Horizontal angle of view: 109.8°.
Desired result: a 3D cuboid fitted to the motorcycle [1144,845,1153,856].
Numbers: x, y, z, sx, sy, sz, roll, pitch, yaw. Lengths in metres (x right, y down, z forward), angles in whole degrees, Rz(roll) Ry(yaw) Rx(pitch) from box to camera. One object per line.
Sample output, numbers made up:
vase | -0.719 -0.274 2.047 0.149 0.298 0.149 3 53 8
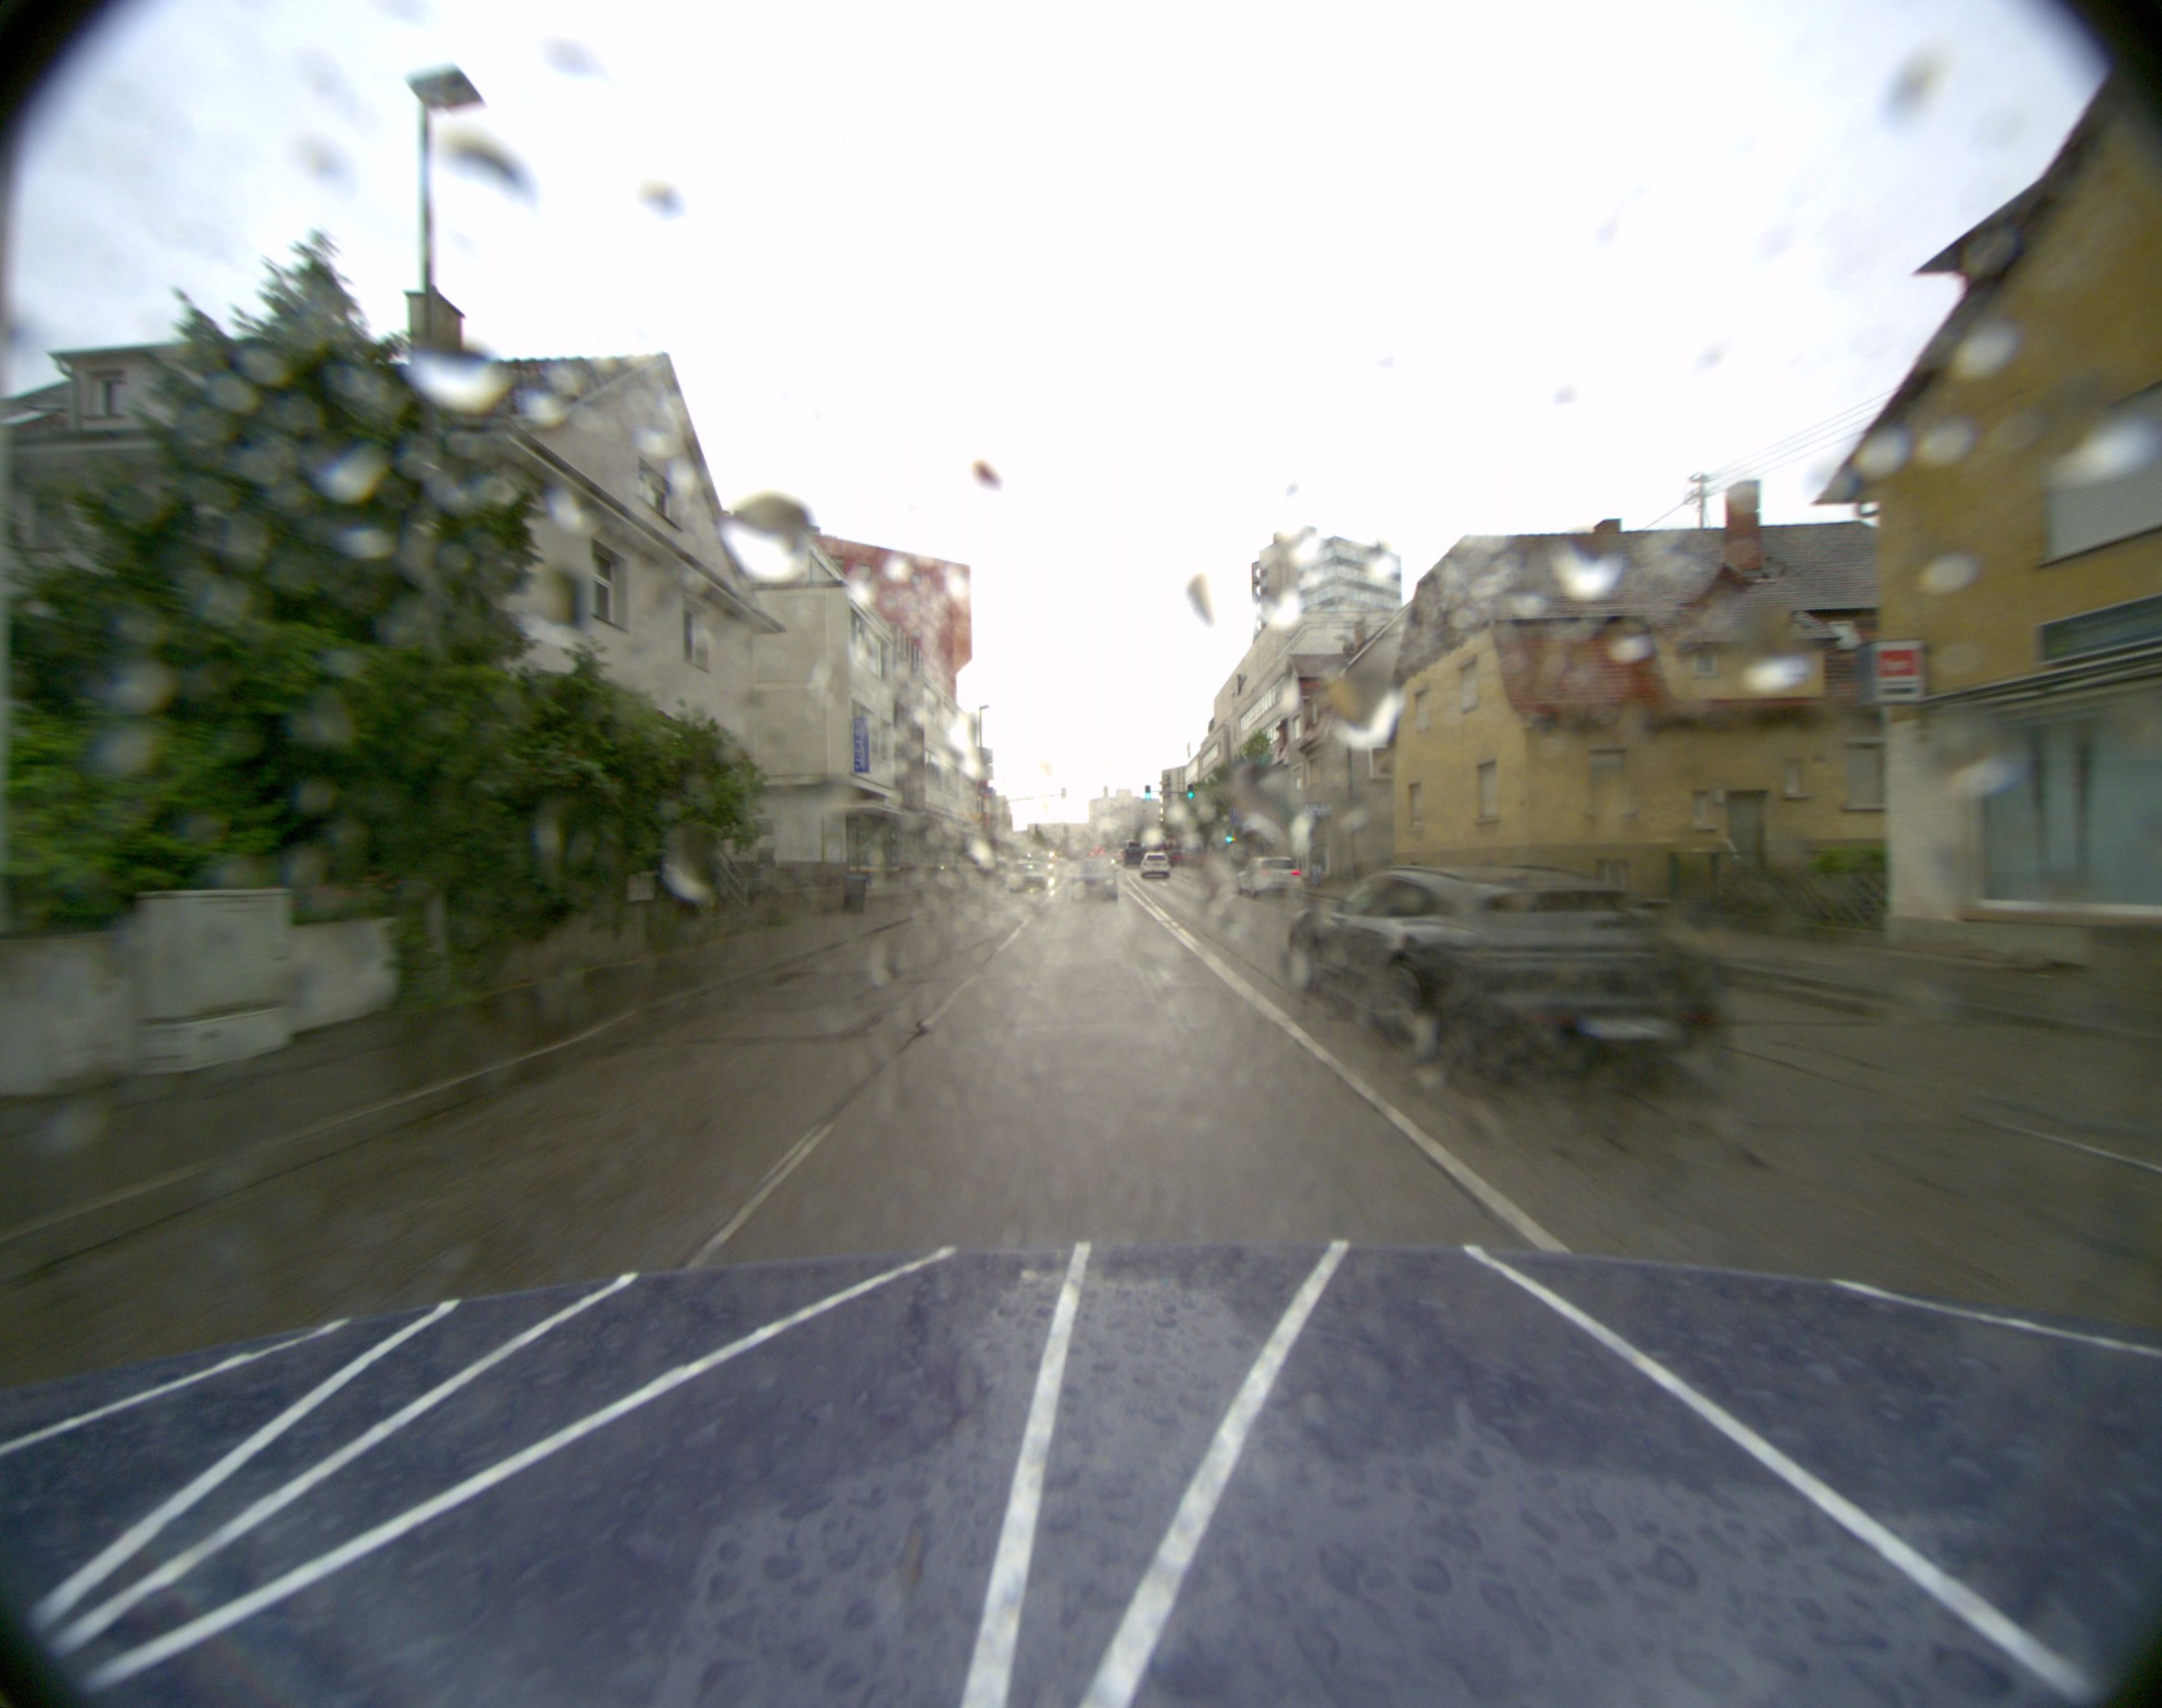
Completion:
motorcycle | 8.018 -0.479 90.553 0.909 1.276 2.185 0 1 1

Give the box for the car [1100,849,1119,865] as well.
car | 2.745 0.272 73.427 1.719 1.442 4.197 0 1 1

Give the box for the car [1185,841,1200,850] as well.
car | 17.026 -1.284 116.193 1.757 1.402 3.730 0 1 1

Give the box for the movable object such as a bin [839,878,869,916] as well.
movable object such as a bin | -6.432 1.218 21.540 0.577 1.042 0.830 1 -1 1

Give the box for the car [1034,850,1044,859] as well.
car | -6.000 0.100 109.110 1.326 1.178 2.822 0 1 1

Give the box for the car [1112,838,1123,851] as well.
car | 6.036 -1.593 126.094 1.637 2.002 4.284 0 1 2

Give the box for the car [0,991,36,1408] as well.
car | -4.280 0.986 0.161 2.017 1.613 4.358 -1 2 -1

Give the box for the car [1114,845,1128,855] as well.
car | 5.486 -0.575 105.733 1.762 1.426 4.380 0 1 1

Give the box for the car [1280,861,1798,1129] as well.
car | 3.192 0.826 6.588 1.772 1.405 4.525 0 1 0

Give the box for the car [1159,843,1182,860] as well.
car | 9.073 -0.272 77.320 2.005 1.608 4.949 0 1 4

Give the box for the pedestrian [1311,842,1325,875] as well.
pedestrian | 11.303 0.201 36.199 0.544 1.548 0.446 0 1 1

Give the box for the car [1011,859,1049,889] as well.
car | -2.471 0.946 37.588 1.662 1.300 3.993 0 1 -1

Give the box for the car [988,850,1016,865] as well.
car | -7.979 0.333 76.254 1.618 1.453 3.415 -1 1 -28

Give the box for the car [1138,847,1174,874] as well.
car | 4.828 0.388 49.602 1.883 1.600 4.718 0 1 0

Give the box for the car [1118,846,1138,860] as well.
car | 5.797 -0.168 94.379 2.104 1.702 4.847 0 1 -1

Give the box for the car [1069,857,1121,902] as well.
car | 0.454 0.876 27.793 1.688 1.373 3.792 -2 1 -1

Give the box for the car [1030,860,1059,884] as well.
car | -2.699 1.306 56.978 2.058 1.638 4.478 0 1 -3

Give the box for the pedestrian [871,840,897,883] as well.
pedestrian | -8.340 0.320 32.205 0.730 1.770 0.953 -1 0 9

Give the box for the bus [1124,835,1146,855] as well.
bus | 8.945 -1.565 126.097 2.899 3.081 11.997 0 1 0

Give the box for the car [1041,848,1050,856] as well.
car | -6.093 -0.306 131.020 1.394 1.316 2.861 0 1 -1

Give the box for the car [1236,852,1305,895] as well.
car | 7.082 0.688 28.782 1.653 1.409 4.138 2 1 2

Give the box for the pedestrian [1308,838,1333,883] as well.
pedestrian | 10.351 0.262 32.853 0.663 1.910 0.946 -3 2 -7

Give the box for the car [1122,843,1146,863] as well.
car | 5.281 -0.172 76.739 1.971 1.927 5.177 0 1 -1

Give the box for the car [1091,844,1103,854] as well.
car | 2.534 -0.784 119.194 1.711 1.508 4.391 0 1 2
